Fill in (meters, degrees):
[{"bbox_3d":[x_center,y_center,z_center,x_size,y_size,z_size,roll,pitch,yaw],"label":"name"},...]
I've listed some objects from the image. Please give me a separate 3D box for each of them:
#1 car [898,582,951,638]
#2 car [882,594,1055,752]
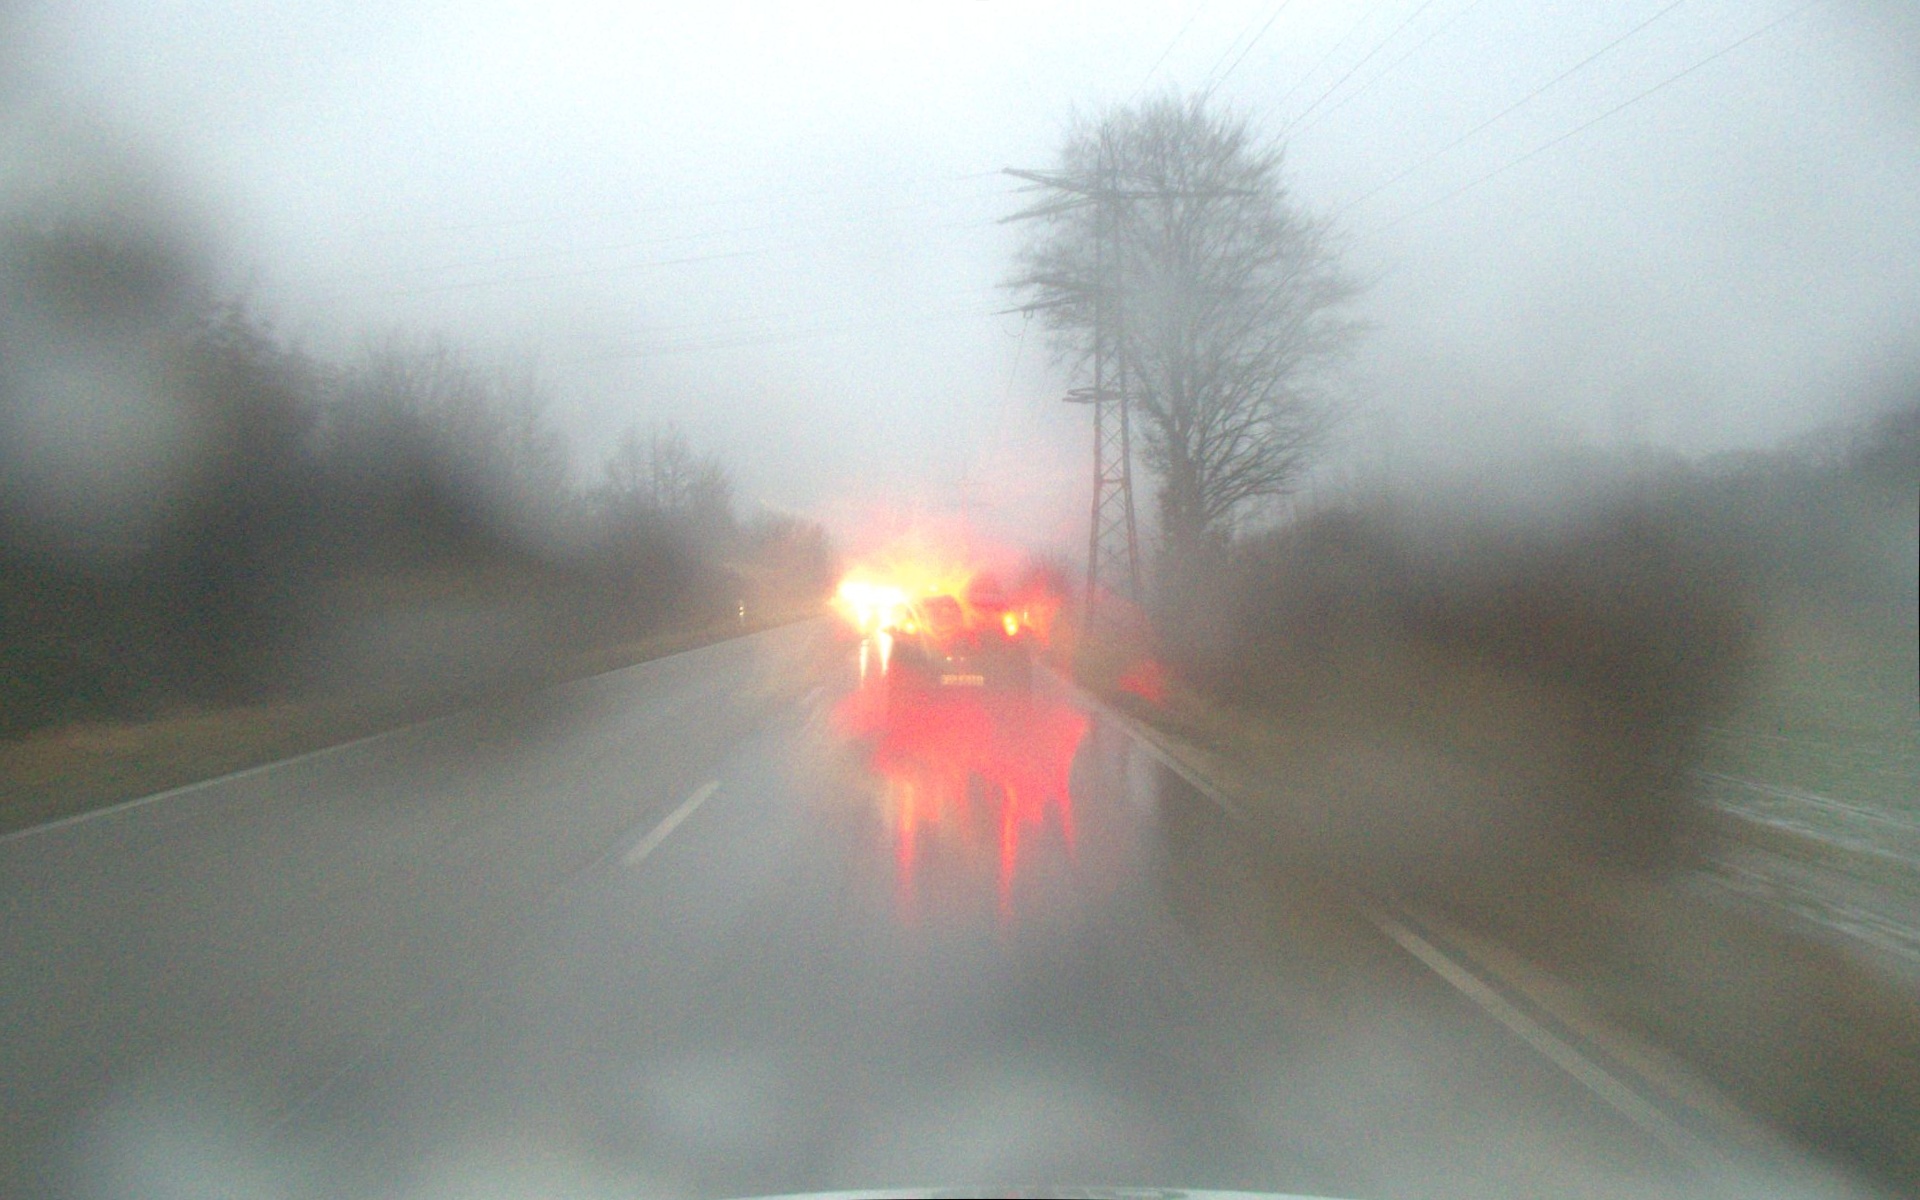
[{"bbox_3d":[-1.355,0.370,63.444,1.953,2.049,3.999,-1,0,-1],"label":"car"},{"bbox_3d":[0.058,0.822,20.790,1.953,1.783,3.999,0,0,-1],"label":"car"}]
